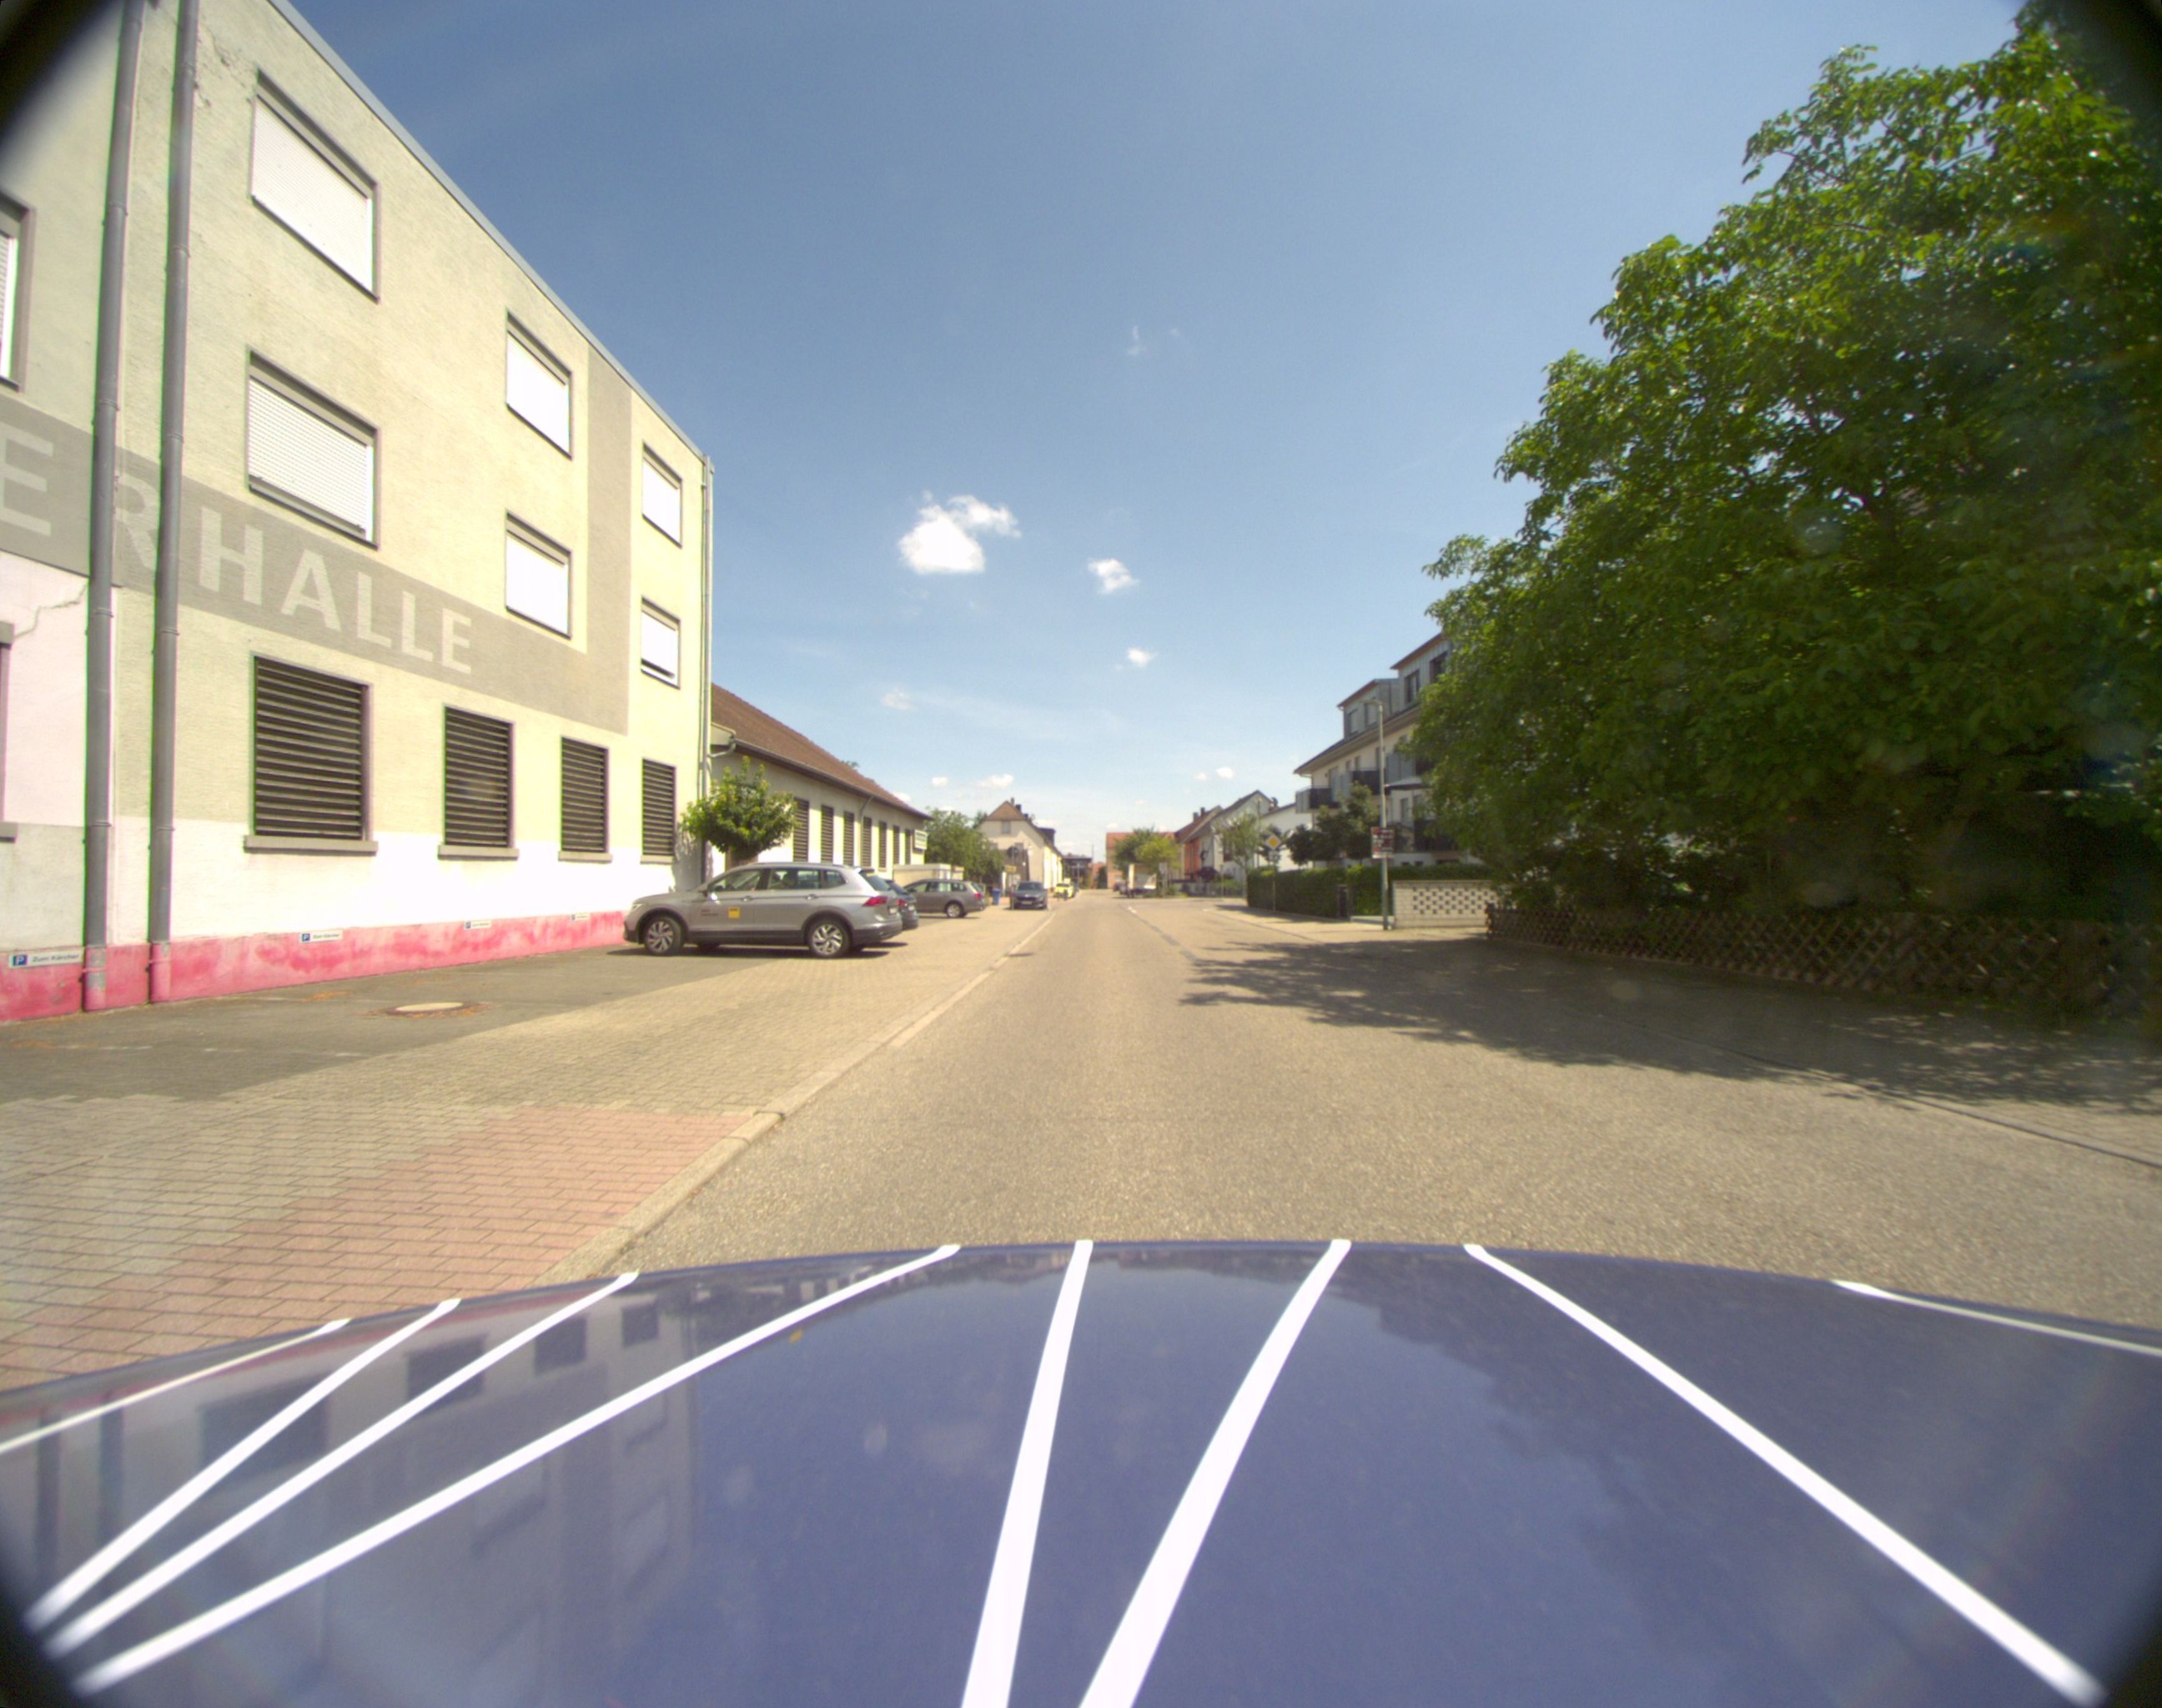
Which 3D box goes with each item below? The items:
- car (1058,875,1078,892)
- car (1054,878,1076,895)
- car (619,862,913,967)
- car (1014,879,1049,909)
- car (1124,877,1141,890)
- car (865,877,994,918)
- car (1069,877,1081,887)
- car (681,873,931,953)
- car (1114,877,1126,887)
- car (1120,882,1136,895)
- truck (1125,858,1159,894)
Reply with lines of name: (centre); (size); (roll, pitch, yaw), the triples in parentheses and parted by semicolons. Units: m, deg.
car: (-1.251, 2.859, 74.579); (1.720, 1.491, 4.217); (3, -2, 1)
car: (-1.445, 2.983, 69.822); (1.720, 1.389, 4.217); (3, -2, 1)
car: (-5.482, 1.040, 13.714); (4.465, 1.686, 1.923); (1, -1, -1)
car: (-2.571, 2.052, 40.056); (1.632, 1.480, 4.140); (0, -2, -1)
car: (5.995, 3.416, 88.544); (1.720, 1.491, 4.216); (2, -2, 0)
car: (-5.747, 1.648, 29.258); (4.537, 1.445, 1.919); (1, -1, 1)
car: (-0.927, 4.347, 119.548); (1.720, 1.491, 4.217); (3, -2, 1)
car: (-5.620, 1.190, 15.988); (4.512, 1.510, 2.001); (1, -1, 0)
car: (6.433, 4.627, 125.359); (1.720, 1.491, 4.216); (2, -2, 0)
car: (5.802, 4.276, 94.585); (1.720, 1.491, 4.216); (2, -2, 0)
truck: (5.919, 2.182, 74.638); (2.444, 3.226, 7.037); (3, -2, -1)
